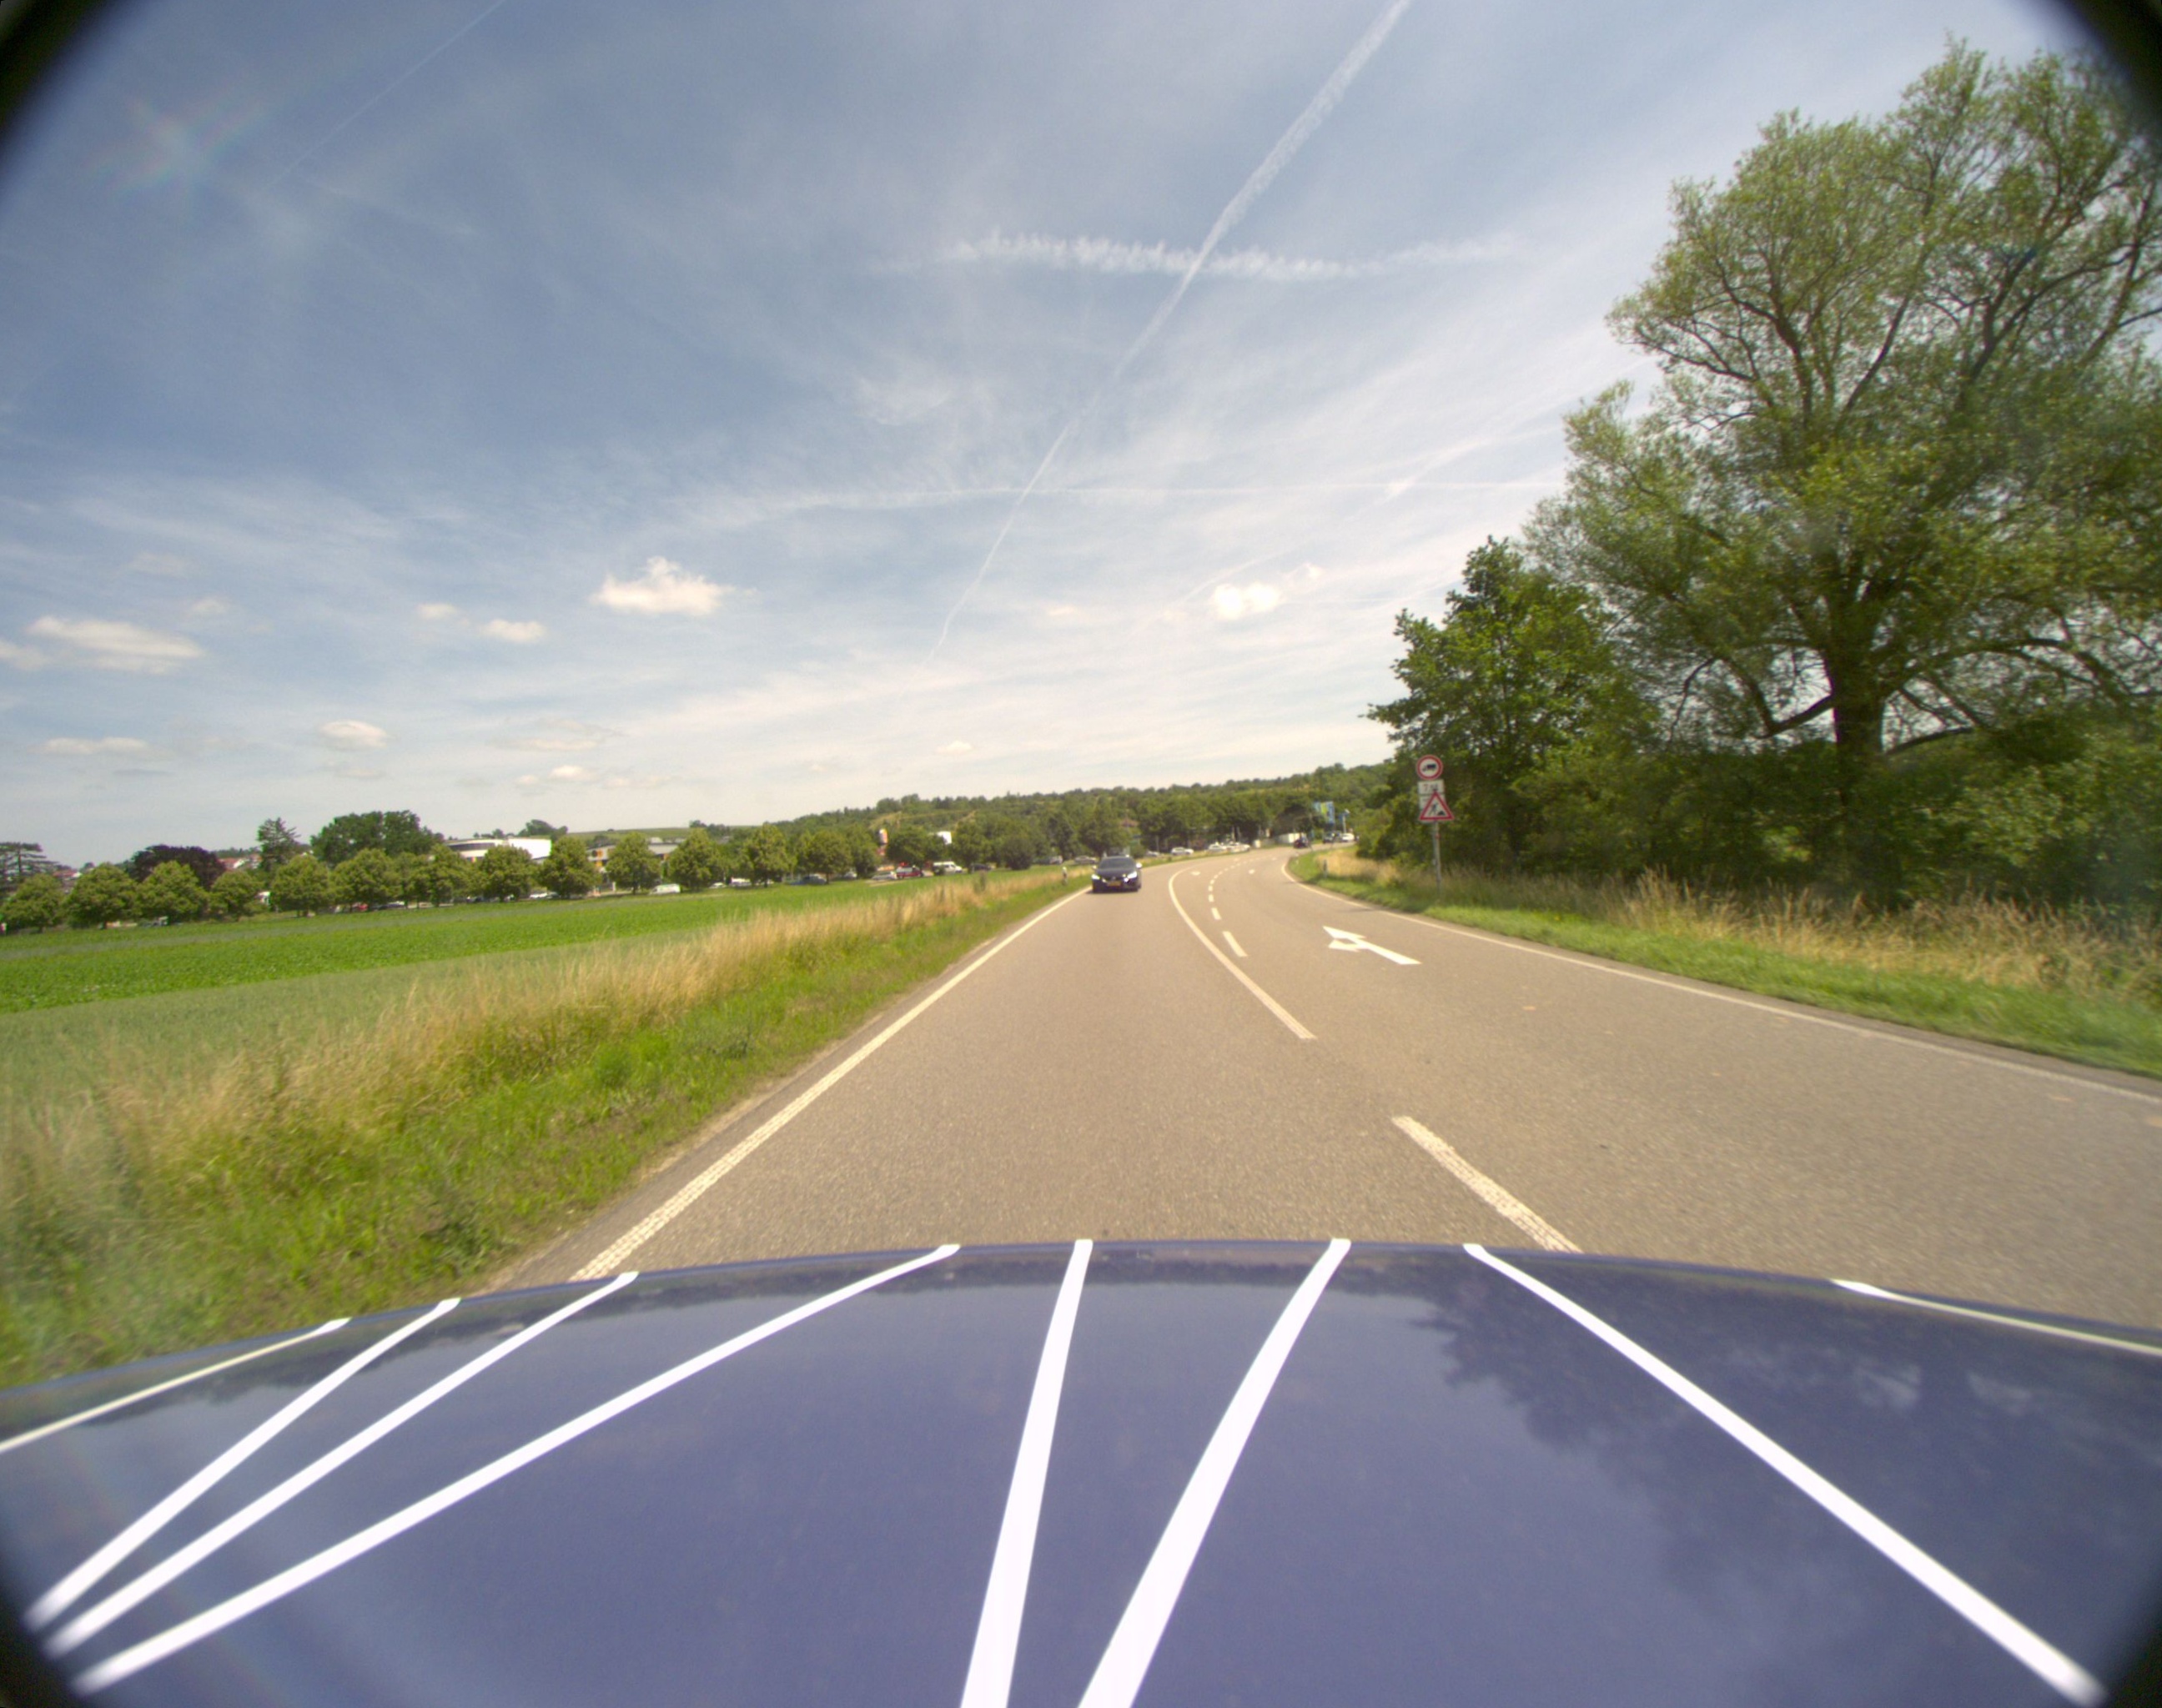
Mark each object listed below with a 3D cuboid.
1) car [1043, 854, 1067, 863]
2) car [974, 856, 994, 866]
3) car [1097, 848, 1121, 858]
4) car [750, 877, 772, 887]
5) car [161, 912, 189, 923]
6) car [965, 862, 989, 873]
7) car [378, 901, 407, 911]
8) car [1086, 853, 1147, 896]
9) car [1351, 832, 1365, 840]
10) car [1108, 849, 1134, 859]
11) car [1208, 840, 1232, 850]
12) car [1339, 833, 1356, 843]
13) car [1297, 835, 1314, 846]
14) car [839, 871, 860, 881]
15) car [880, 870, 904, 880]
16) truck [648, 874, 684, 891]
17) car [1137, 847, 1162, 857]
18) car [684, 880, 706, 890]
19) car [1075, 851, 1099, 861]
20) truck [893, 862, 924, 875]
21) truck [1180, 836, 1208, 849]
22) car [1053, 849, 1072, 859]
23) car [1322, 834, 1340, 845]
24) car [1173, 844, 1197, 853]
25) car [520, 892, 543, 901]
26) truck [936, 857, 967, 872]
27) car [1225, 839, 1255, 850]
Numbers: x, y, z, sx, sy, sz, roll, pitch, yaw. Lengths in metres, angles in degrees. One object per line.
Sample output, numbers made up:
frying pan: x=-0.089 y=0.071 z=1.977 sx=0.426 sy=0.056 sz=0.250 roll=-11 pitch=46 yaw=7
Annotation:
car: x=-5.185 y=0.931 z=149.509 sx=4.558 sy=1.266 sz=1.800 roll=-5 pitch=2 yaw=1
car: x=-21.116 y=1.437 z=165.992 sx=4.000 sy=1.814 sz=1.820 roll=-5 pitch=2 yaw=-12
car: x=5.677 y=-0.146 z=154.373 sx=4.520 sy=1.682 sz=1.867 roll=-4 pitch=2 yaw=10
car: x=-71.537 y=6.171 z=170.126 sx=3.996 sy=1.814 sz=1.822 roll=-5 pitch=2 yaw=3
car: x=-188.706 y=13.136 z=158.263 sx=3.994 sy=1.790 sz=1.877 roll=-5 pitch=2 yaw=10
car: x=-21.463 y=2.748 z=156.638 sx=4.523 sy=1.682 sz=1.866 roll=-4 pitch=2 yaw=-1
car: x=-158.162 y=11.922 z=174.599 sx=4.808 sy=1.582 sz=1.871 roll=-5 pitch=2 yaw=3
car: x=1.513 y=0.769 z=30.587 sx=1.781 sy=1.484 sz=4.160 roll=-2 pitch=1 yaw=11
car: x=60.334 y=-3.937 z=165.403 sx=1.806 sy=1.722 sz=4.007 roll=-3 pitch=1 yaw=37
car: x=7.736 y=0.002 z=147.785 sx=4.554 sy=1.501 sz=1.802 roll=-5 pitch=0 yaw=16
car: x=25.815 y=-1.703 z=141.131 sx=3.963 sy=1.411 sz=1.830 roll=-4 pitch=3 yaw=28
car: x=55.856 y=-3.425 z=159.320 sx=1.806 sy=1.723 sz=4.006 roll=-3 pitch=3 yaw=41
car: x=37.242 y=-2.272 z=125.871 sx=1.772 sy=1.649 sz=4.006 roll=-2 pitch=2 yaw=30
car: x=-51.540 y=4.893 z=169.177 sx=3.996 sy=1.814 sz=1.822 roll=-5 pitch=2 yaw=3
car: x=-38.363 y=4.273 z=154.261 sx=4.525 sy=1.682 sz=1.865 roll=-5 pitch=2 yaw=-6
truck: x=-83.673 y=5.725 z=153.307 sx=5.937 sy=2.723 sz=2.072 roll=-4 pitch=4 yaw=2
car: x=13.178 y=-0.325 z=146.131 sx=4.553 sy=1.501 sz=1.802 roll=-5 pitch=2 yaw=19
car: x=-87.348 y=7.011 z=172.038 sx=3.996 sy=1.814 sz=1.734 roll=-5 pitch=2 yaw=3
car: x=1.153 y=0.402 z=148.645 sx=4.557 sy=1.502 sz=1.801 roll=-5 pitch=2 yaw=6
truck: x=-33.866 y=2.837 z=149.115 sx=5.473 sy=1.965 sz=1.799 roll=-5 pitch=2 yaw=-4
truck: x=26.832 y=-2.752 z=180.275 sx=6.156 sy=2.603 sz=2.258 roll=-5 pitch=1 yaw=-28
car: x=-3.985 y=0.073 z=167.048 sx=3.997 sy=1.814 sz=1.822 roll=-5 pitch=2 yaw=-1
car: x=50.318 y=-2.910 z=152.817 sx=1.806 sy=1.723 sz=4.006 roll=-3 pitch=3 yaw=41
car: x=19.685 y=-1.075 z=143.657 sx=4.098 sy=1.411 sz=1.802 roll=-4 pitch=2 yaw=17
car: x=-124.645 y=9.599 z=172.415 sx=3.996 sy=1.620 sz=1.743 roll=-5 pitch=2 yaw=3
truck: x=-25.592 y=2.069 z=149.951 sx=5.636 sy=2.353 sz=2.052 roll=-5 pitch=2 yaw=-5
car: x=28.030 y=-1.672 z=133.693 sx=4.629 sy=1.598 sz=2.001 roll=-4 pitch=3 yaw=36
